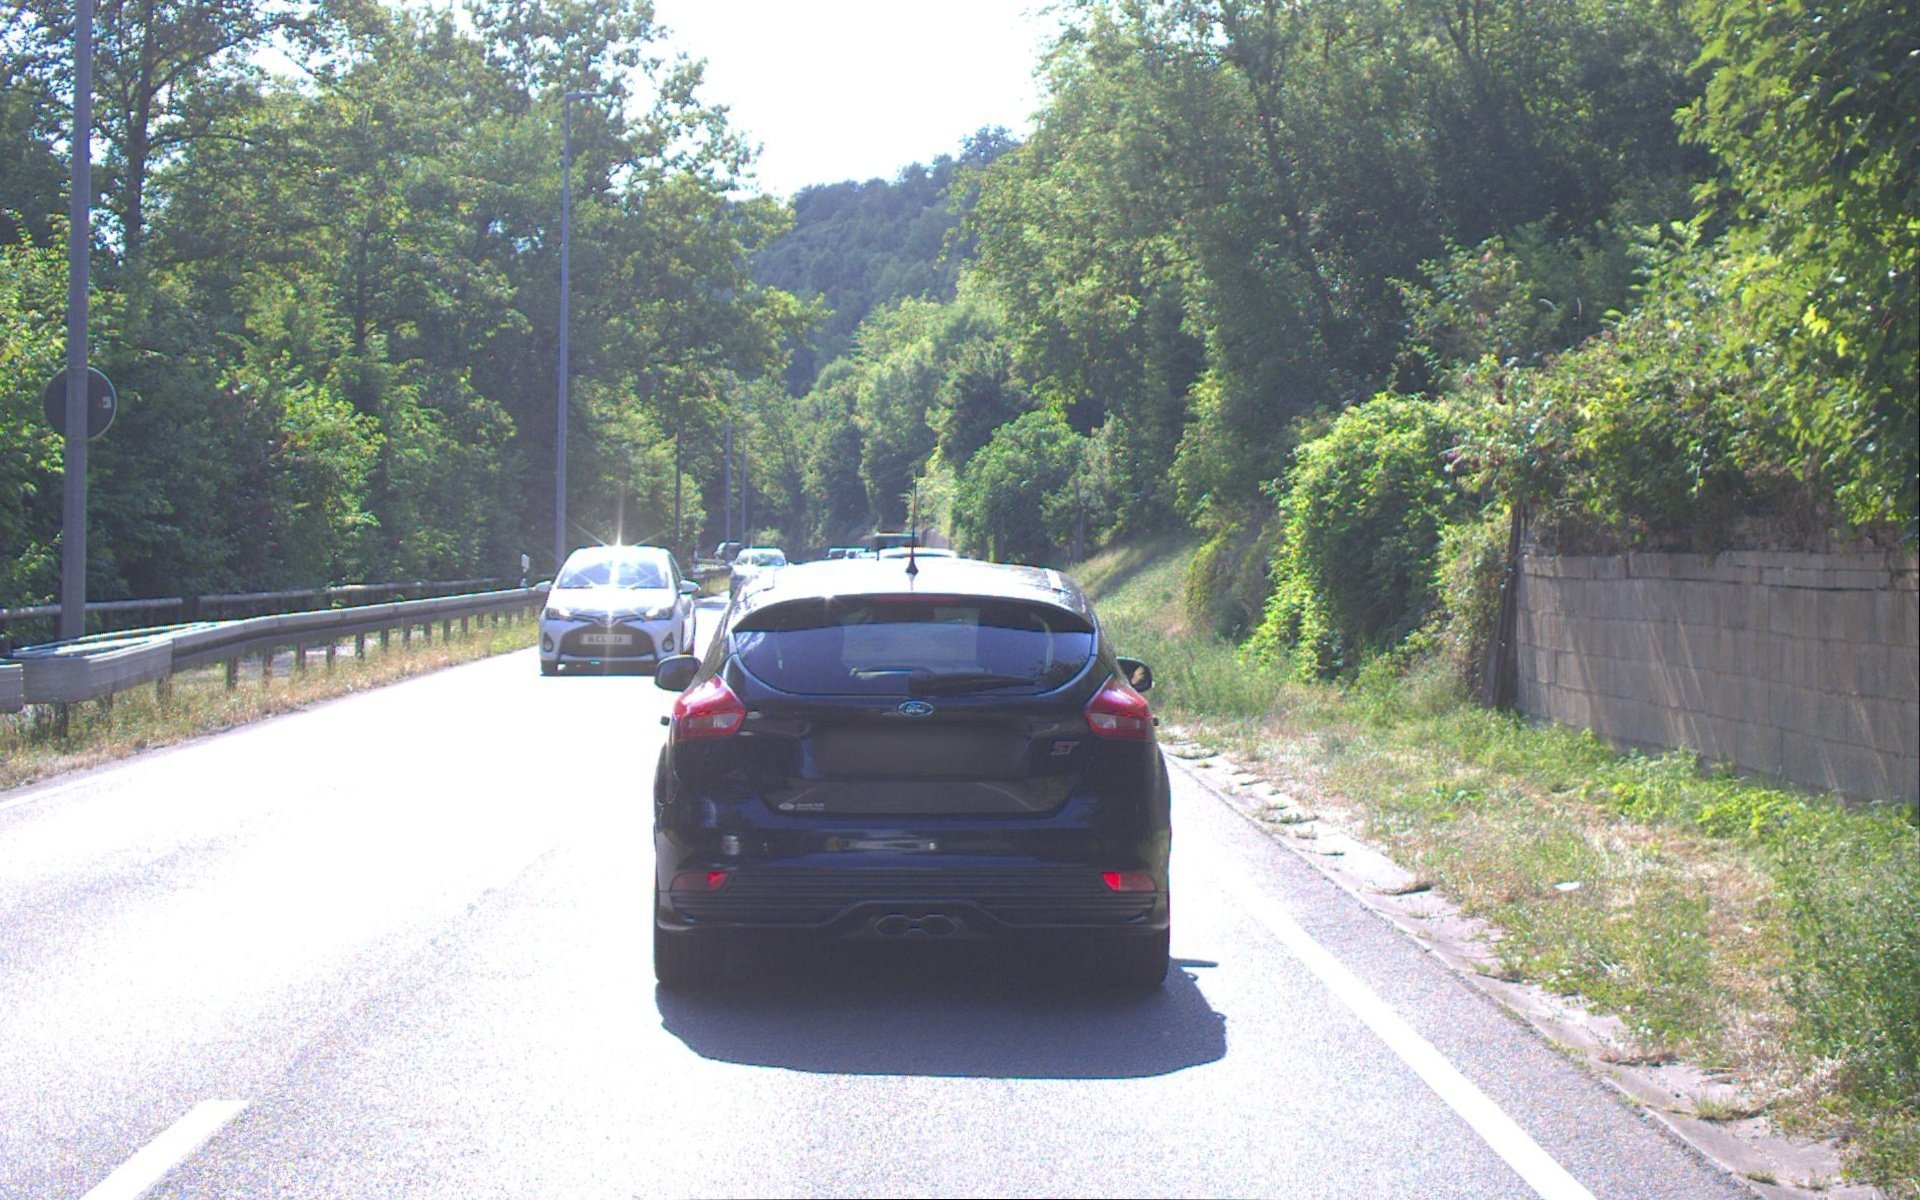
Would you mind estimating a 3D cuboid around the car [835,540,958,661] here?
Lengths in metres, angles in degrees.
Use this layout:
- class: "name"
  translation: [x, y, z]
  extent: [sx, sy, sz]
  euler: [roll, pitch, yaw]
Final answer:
- class: "car"
  translation: [-0.865, -0.028, 47.564]
  extent: [1.631, 1.590, 4.000]
  euler: [0, 1, -1]

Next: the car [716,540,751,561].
- class: "car"
  translation: [-16.846, -3.665, 255.555]
  extent: [1.993, 1.514, 4.001]
  euler: [0, 1, -12]

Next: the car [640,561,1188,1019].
- class: "car"
  translation: [-0.166, 0.584, 12.973]
  extent: [1.739, 1.451, 4.000]
  euler: [0, 1, -1]

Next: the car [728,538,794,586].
- class: "car"
  translation: [-5.880, -1.140, 101.785]
  extent: [1.775, 1.383, 4.000]
  euler: [0, 1, -1]

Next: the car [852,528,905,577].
- class: "car"
  translation: [-2.997, -1.734, 125.506]
  extent: [1.863, 1.774, 4.001]
  euler: [0, 1, -3]

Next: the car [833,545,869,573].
- class: "car"
  translation: [-6.157, -2.326, 194.001]
  extent: [1.993, 1.514, 4.000]
  euler: [0, 1, -2]

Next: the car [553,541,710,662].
- class: "car"
  translation: [-4.141, -0.018, 43.857]
  extent: [1.681, 1.458, 4.198]
  euler: [0, 1, -1]

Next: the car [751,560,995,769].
- class: "car"
  translation: [-0.581, 0.421, 25.691]
  extent: [1.661, 1.413, 4.000]
  euler: [0, 1, 1]

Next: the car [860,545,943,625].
- class: "car"
  translation: [-1.185, -0.337, 70.462]
  extent: [1.631, 1.590, 4.000]
  euler: [0, 1, -1]

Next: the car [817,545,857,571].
- class: "car"
  translation: [-7.320, -2.477, 204.300]
  extent: [1.993, 1.514, 4.001]
  euler: [0, 1, -8]

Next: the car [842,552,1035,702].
- class: "car"
  translation: [-0.220, 0.228, 34.191]
  extent: [1.804, 1.387, 4.000]
  euler: [0, 1, -1]

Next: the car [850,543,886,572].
- class: "car"
  translation: [-4.820, -2.255, 180.822]
  extent: [1.819, 1.514, 4.000]
  euler: [0, 1, -1]
